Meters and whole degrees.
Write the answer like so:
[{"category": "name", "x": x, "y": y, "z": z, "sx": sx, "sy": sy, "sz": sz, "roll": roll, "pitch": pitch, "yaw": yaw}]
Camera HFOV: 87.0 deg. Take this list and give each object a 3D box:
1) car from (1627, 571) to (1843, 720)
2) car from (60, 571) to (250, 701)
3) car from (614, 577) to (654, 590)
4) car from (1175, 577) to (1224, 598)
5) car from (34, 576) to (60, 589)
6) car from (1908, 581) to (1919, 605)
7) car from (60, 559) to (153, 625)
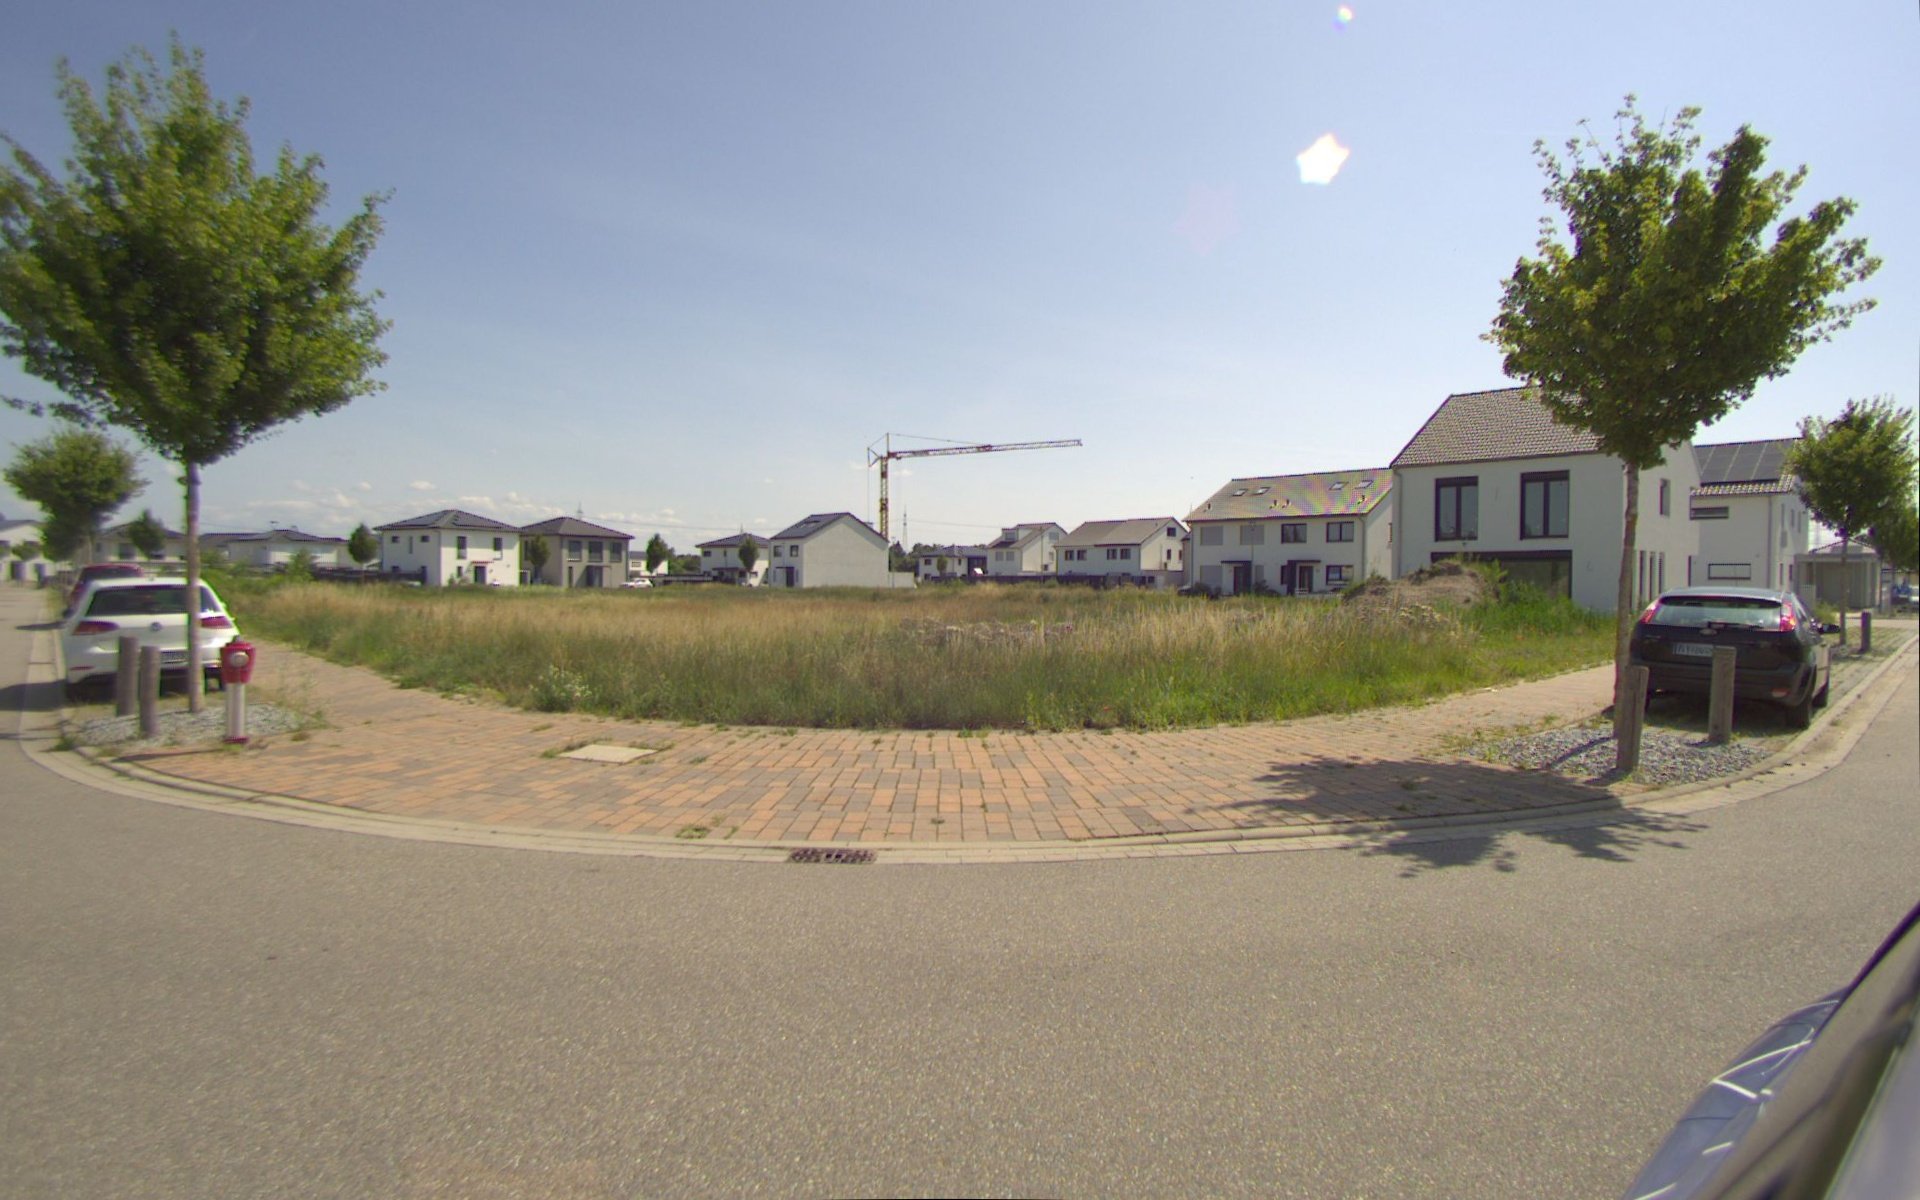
[{"category": "car", "x": 9.603, "y": 0.462, "z": 12.463, "sx": 1.841, "sy": 1.512, "sz": 4.132, "roll": 0, "pitch": 0, "yaw": 40}, {"category": "car", "x": -11.026, "y": 0.353, "z": 13.749, "sx": 1.751, "sy": 1.437, "sz": 4.158, "roll": -3, "pitch": 3, "yaw": -42}, {"category": "car", "x": -35.399, "y": -1.796, "z": 109.823, "sx": 1.738, "sy": 1.416, "sz": 3.952, "roll": 0, "pitch": 0, "yaw": 34}, {"category": "car", "x": 19.073, "y": -0.984, "z": 80.622, "sx": 3.928, "sy": 1.593, "sz": 1.813, "roll": -1, "pitch": 1, "yaw": -39}, {"category": "car", "x": -98.876, "y": -1.860, "z": 109.576, "sx": 3.816, "sy": 1.339, "sz": 1.609, "roll": -2, "pitch": -1, "yaw": 41}, {"category": "car", "x": 59.062, "y": -0.446, "z": 61.480, "sx": 4.347, "sy": 1.438, "sz": 1.921, "roll": -1, "pitch": 1, "yaw": -44}, {"category": "car", "x": -23.913, "y": -0.280, "z": 28.293, "sx": 1.753, "sy": 1.683, "sz": 4.424, "roll": -2, "pitch": 3, "yaw": -43}]
